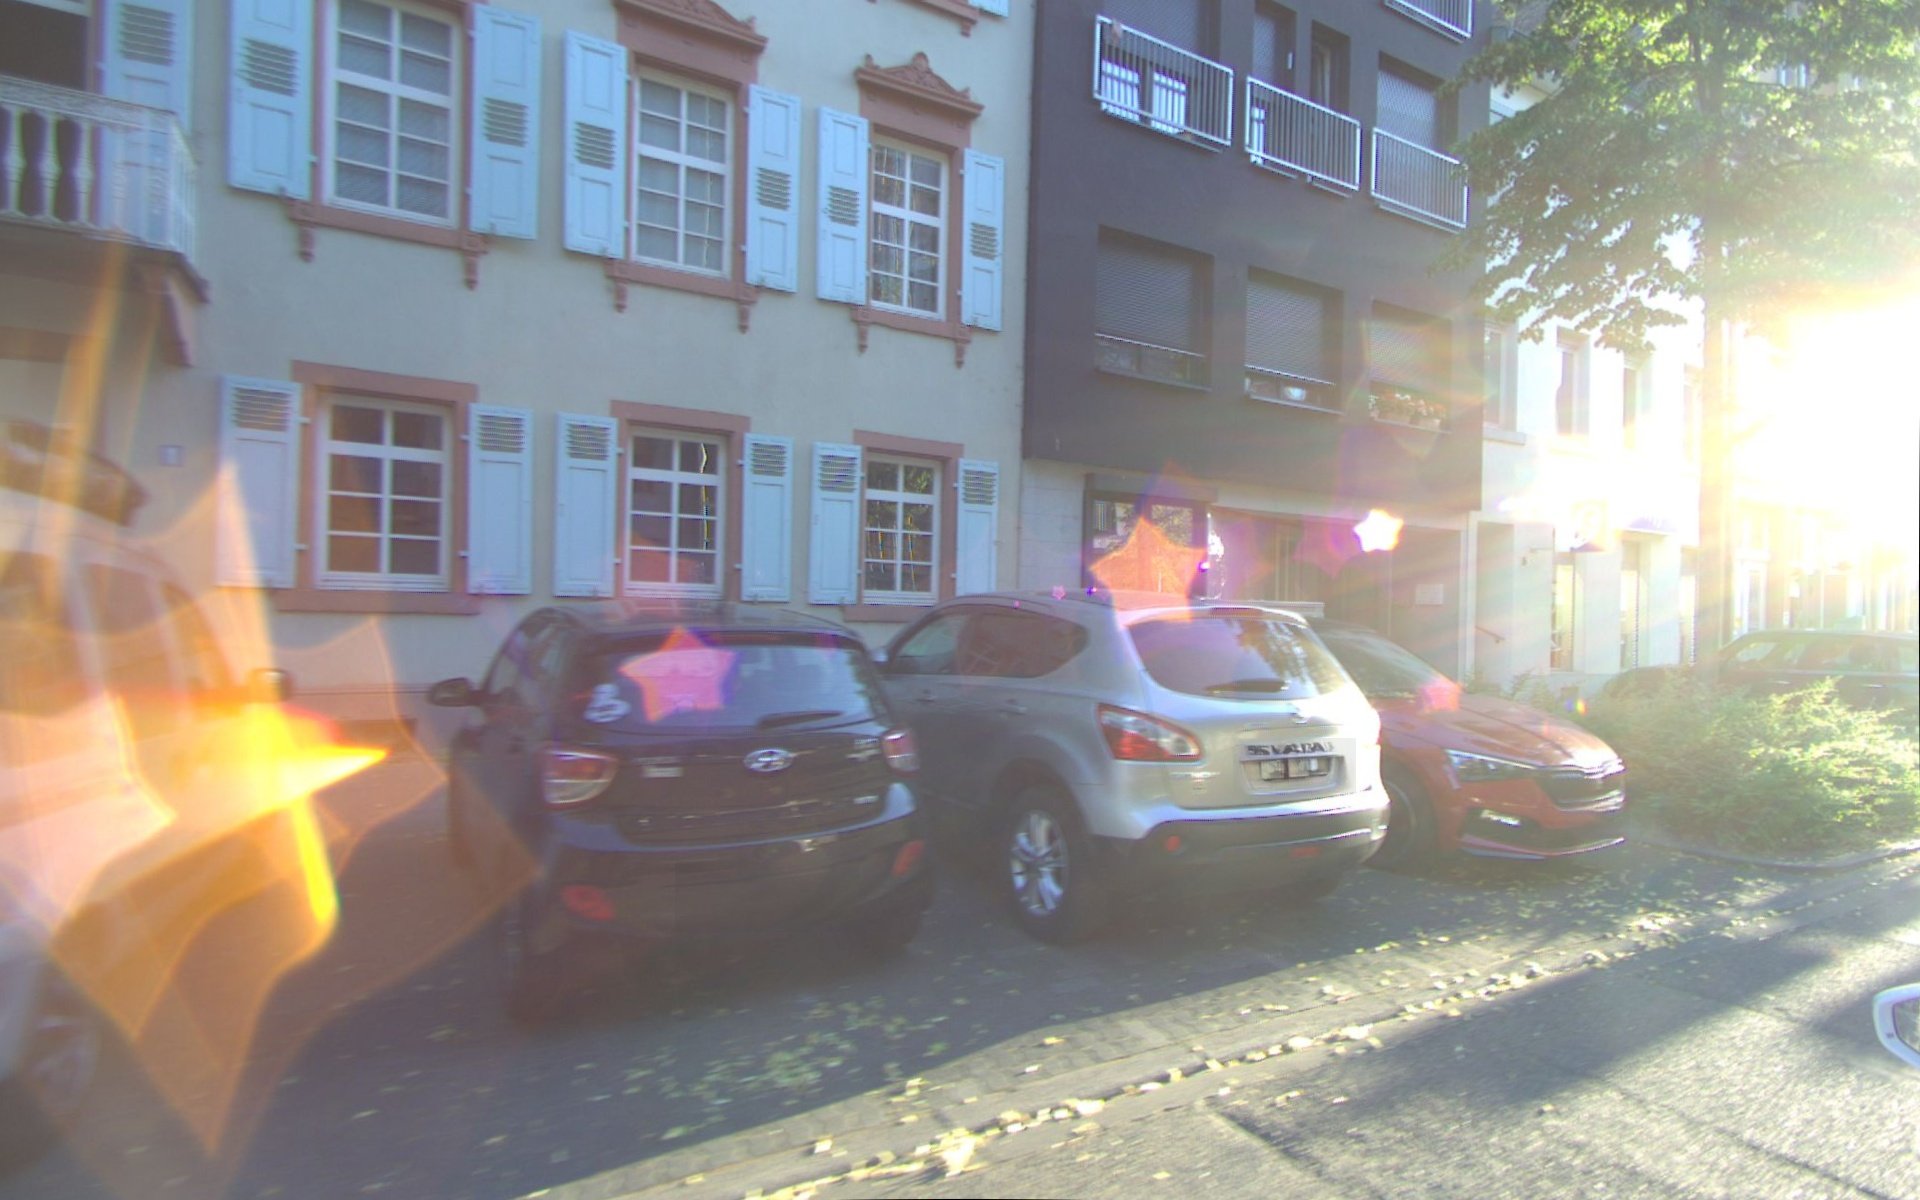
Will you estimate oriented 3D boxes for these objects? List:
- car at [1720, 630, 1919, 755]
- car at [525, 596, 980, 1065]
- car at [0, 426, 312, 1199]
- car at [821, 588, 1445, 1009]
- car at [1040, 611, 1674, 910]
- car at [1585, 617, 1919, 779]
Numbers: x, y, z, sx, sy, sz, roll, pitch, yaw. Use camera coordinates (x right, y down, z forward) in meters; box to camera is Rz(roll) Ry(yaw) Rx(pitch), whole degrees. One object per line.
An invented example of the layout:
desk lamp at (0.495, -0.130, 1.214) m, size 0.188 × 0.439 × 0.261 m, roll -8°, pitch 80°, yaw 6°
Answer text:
car at (11.894, 1.139, 12.590) m, size 1.665 × 1.410 × 3.384 m, roll 1°, pitch 0°, yaw -26°
car at (-1.393, 0.790, 5.300) m, size 1.626 × 1.535 × 3.641 m, roll 1°, pitch -1°, yaw -24°
car at (-3.599, 0.555, 3.527) m, size 1.677 × 1.874 × 3.799 m, roll 2°, pitch -1°, yaw -25°
car at (0.612, 0.771, 5.954) m, size 1.718 × 1.606 × 3.812 m, roll 2°, pitch 0°, yaw -26°
car at (2.546, 0.882, 7.480) m, size 1.743 × 1.536 × 4.185 m, roll 2°, pitch -1°, yaw -32°
car at (9.710, 1.022, 11.559) m, size 1.834 × 1.537 × 3.877 m, roll 1°, pitch 0°, yaw -28°
